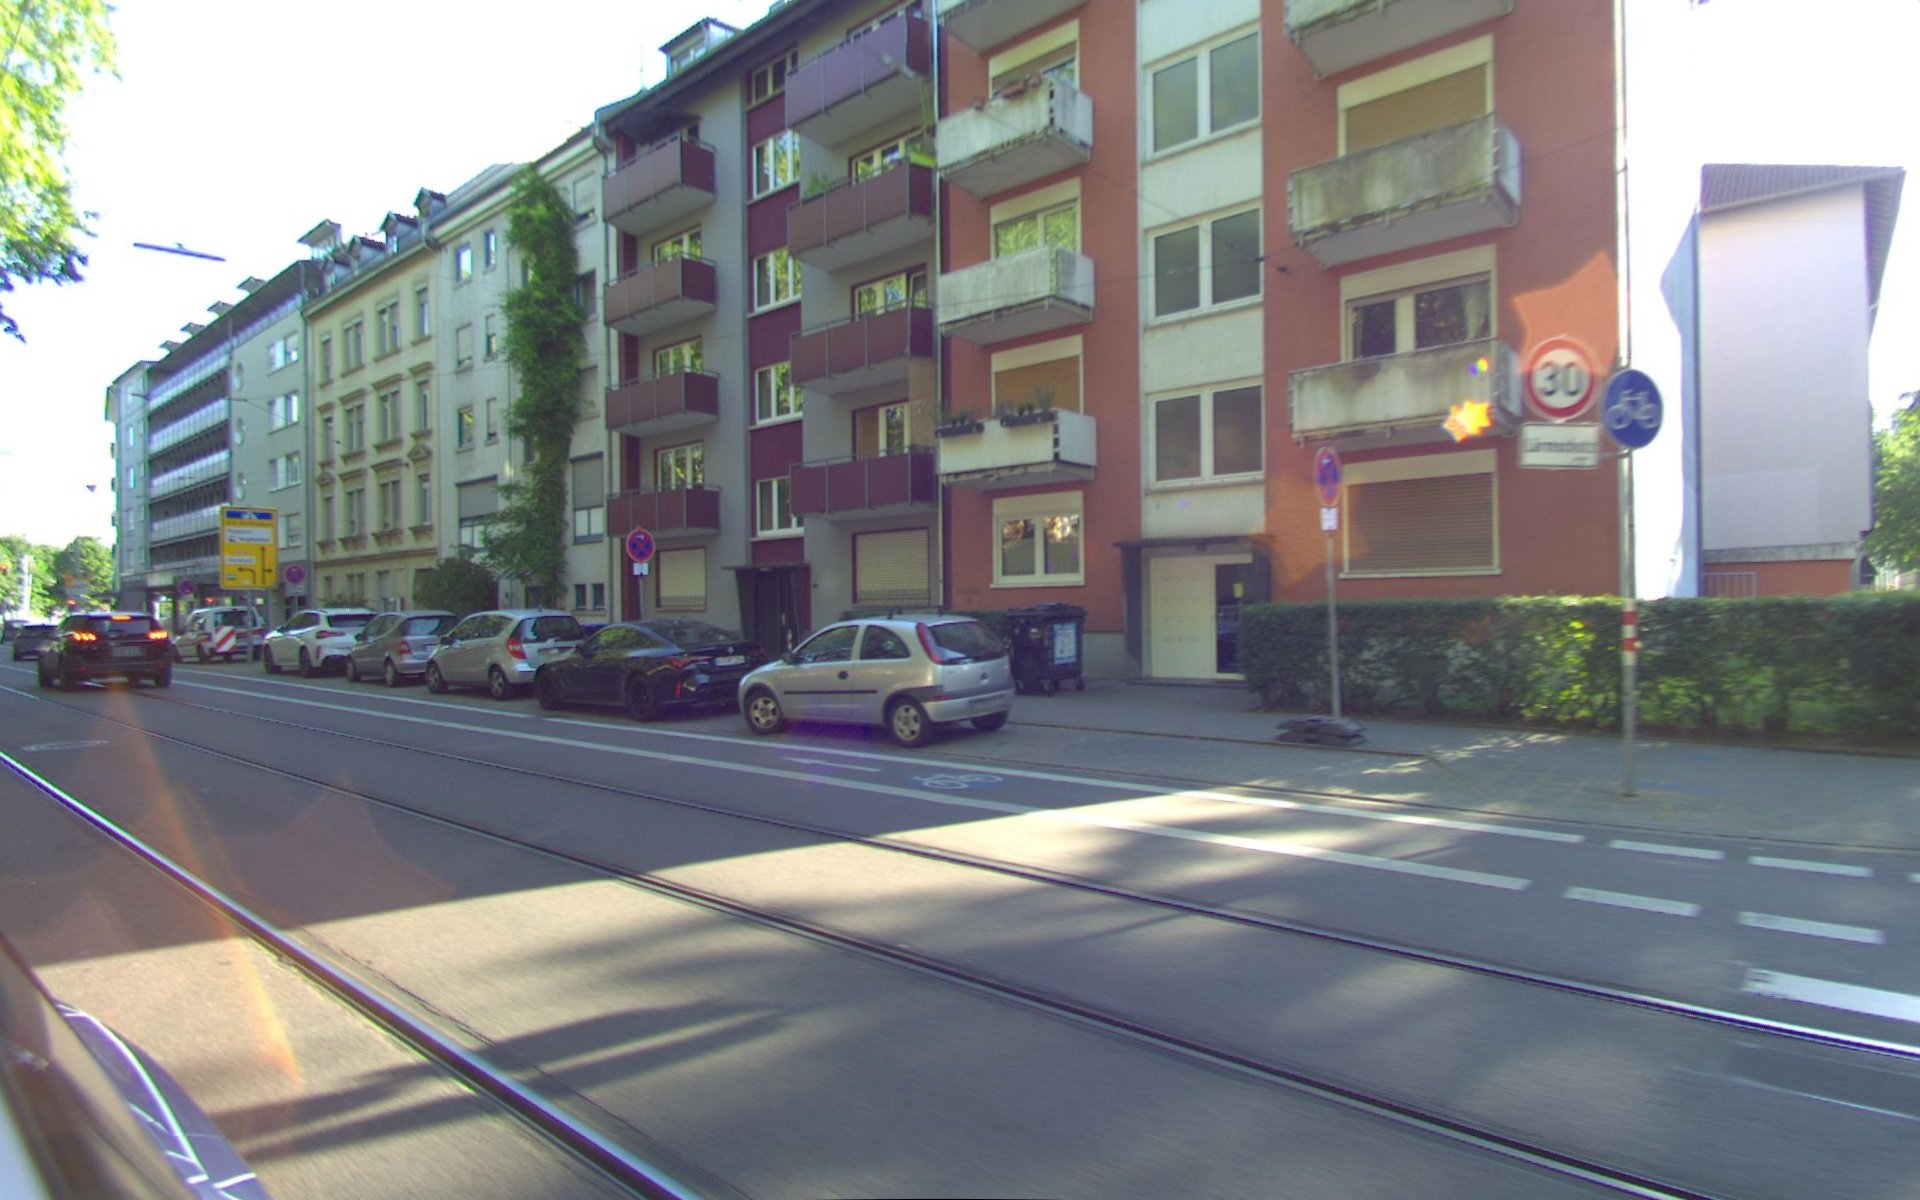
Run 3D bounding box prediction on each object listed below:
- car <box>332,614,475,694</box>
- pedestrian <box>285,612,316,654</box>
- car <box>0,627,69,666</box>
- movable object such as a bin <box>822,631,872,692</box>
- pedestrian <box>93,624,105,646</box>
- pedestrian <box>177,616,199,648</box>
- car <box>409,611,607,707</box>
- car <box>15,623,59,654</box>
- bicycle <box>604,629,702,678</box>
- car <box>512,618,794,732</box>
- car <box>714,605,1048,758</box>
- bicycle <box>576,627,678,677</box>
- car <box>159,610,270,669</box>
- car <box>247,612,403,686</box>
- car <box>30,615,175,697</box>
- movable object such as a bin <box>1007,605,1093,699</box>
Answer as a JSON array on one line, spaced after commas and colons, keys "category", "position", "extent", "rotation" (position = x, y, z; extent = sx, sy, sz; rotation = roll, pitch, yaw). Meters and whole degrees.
[{"category": "car", "position": [-12.471, 1.141, 22.602], "extent": [3.780, 1.583, 1.609], "rotation": [-1, 1, 42]}, {"category": "pedestrian", "position": [-29.803, 1.498, 45.751], "extent": [0.729, 1.827, 0.953], "rotation": [-2, 1, 41]}, {"category": "car", "position": [-36.512, 1.808, 39.722], "extent": [4.050, 1.457, 1.777], "rotation": [-2, -2, 41]}, {"category": "movable object such as a bin", "position": [-2.030, 1.096, 18.234], "extent": [0.721, 1.056, 0.559], "rotation": [-2, -1, 42]}, {"category": "pedestrian", "position": [-68.871, 2.782, 80.971], "extent": [0.706, 1.686, 0.905], "rotation": [0, -1, -40]}, {"category": "pedestrian", "position": [-43.601, 1.821, 57.151], "extent": [0.819, 1.726, 0.779], "rotation": [-2, 2, 40]}, {"category": "car", "position": [-8.663, 1.058, 19.295], "extent": [4.000, 1.599, 1.802], "rotation": [-2, 0, 39]}, {"category": "car", "position": [-52.951, 2.179, 58.126], "extent": [1.774, 1.456, 4.723], "rotation": [1, 1, -42]}, {"category": "bicycle", "position": [-7.409, 1.276, 24.540], "extent": [0.698, 1.000, 2.268], "rotation": [-2, 1, 37]}, {"category": "car", "position": [-4.925, 1.064, 15.824], "extent": [4.861, 1.405, 1.932], "rotation": [-1, 2, 42]}, {"category": "car", "position": [-1.051, 0.877, 12.280], "extent": [3.927, 1.494, 1.708], "rotation": [-1, 1, 40]}, {"category": "bicycle", "position": [-8.276, 1.277, 25.296], "extent": [0.698, 1.070, 2.428], "rotation": [-2, 1, 37]}, {"category": "car", "position": [-24.637, 1.283, 33.401], "extent": [4.464, 1.784, 1.772], "rotation": [-2, 0, 38]}, {"category": "car", "position": [-16.363, 1.183, 25.972], "extent": [4.877, 1.661, 1.933], "rotation": [-1, 1, 40]}, {"category": "car", "position": [-18.939, 1.154, 22.283], "extent": [4.462, 1.612, 1.833], "rotation": [-1, -1, 42]}, {"category": "movable object such as a bin", "position": [1.392, 0.765, 15.533], "extent": [0.747, 1.375, 1.198], "rotation": [-2, -1, 42]}]
